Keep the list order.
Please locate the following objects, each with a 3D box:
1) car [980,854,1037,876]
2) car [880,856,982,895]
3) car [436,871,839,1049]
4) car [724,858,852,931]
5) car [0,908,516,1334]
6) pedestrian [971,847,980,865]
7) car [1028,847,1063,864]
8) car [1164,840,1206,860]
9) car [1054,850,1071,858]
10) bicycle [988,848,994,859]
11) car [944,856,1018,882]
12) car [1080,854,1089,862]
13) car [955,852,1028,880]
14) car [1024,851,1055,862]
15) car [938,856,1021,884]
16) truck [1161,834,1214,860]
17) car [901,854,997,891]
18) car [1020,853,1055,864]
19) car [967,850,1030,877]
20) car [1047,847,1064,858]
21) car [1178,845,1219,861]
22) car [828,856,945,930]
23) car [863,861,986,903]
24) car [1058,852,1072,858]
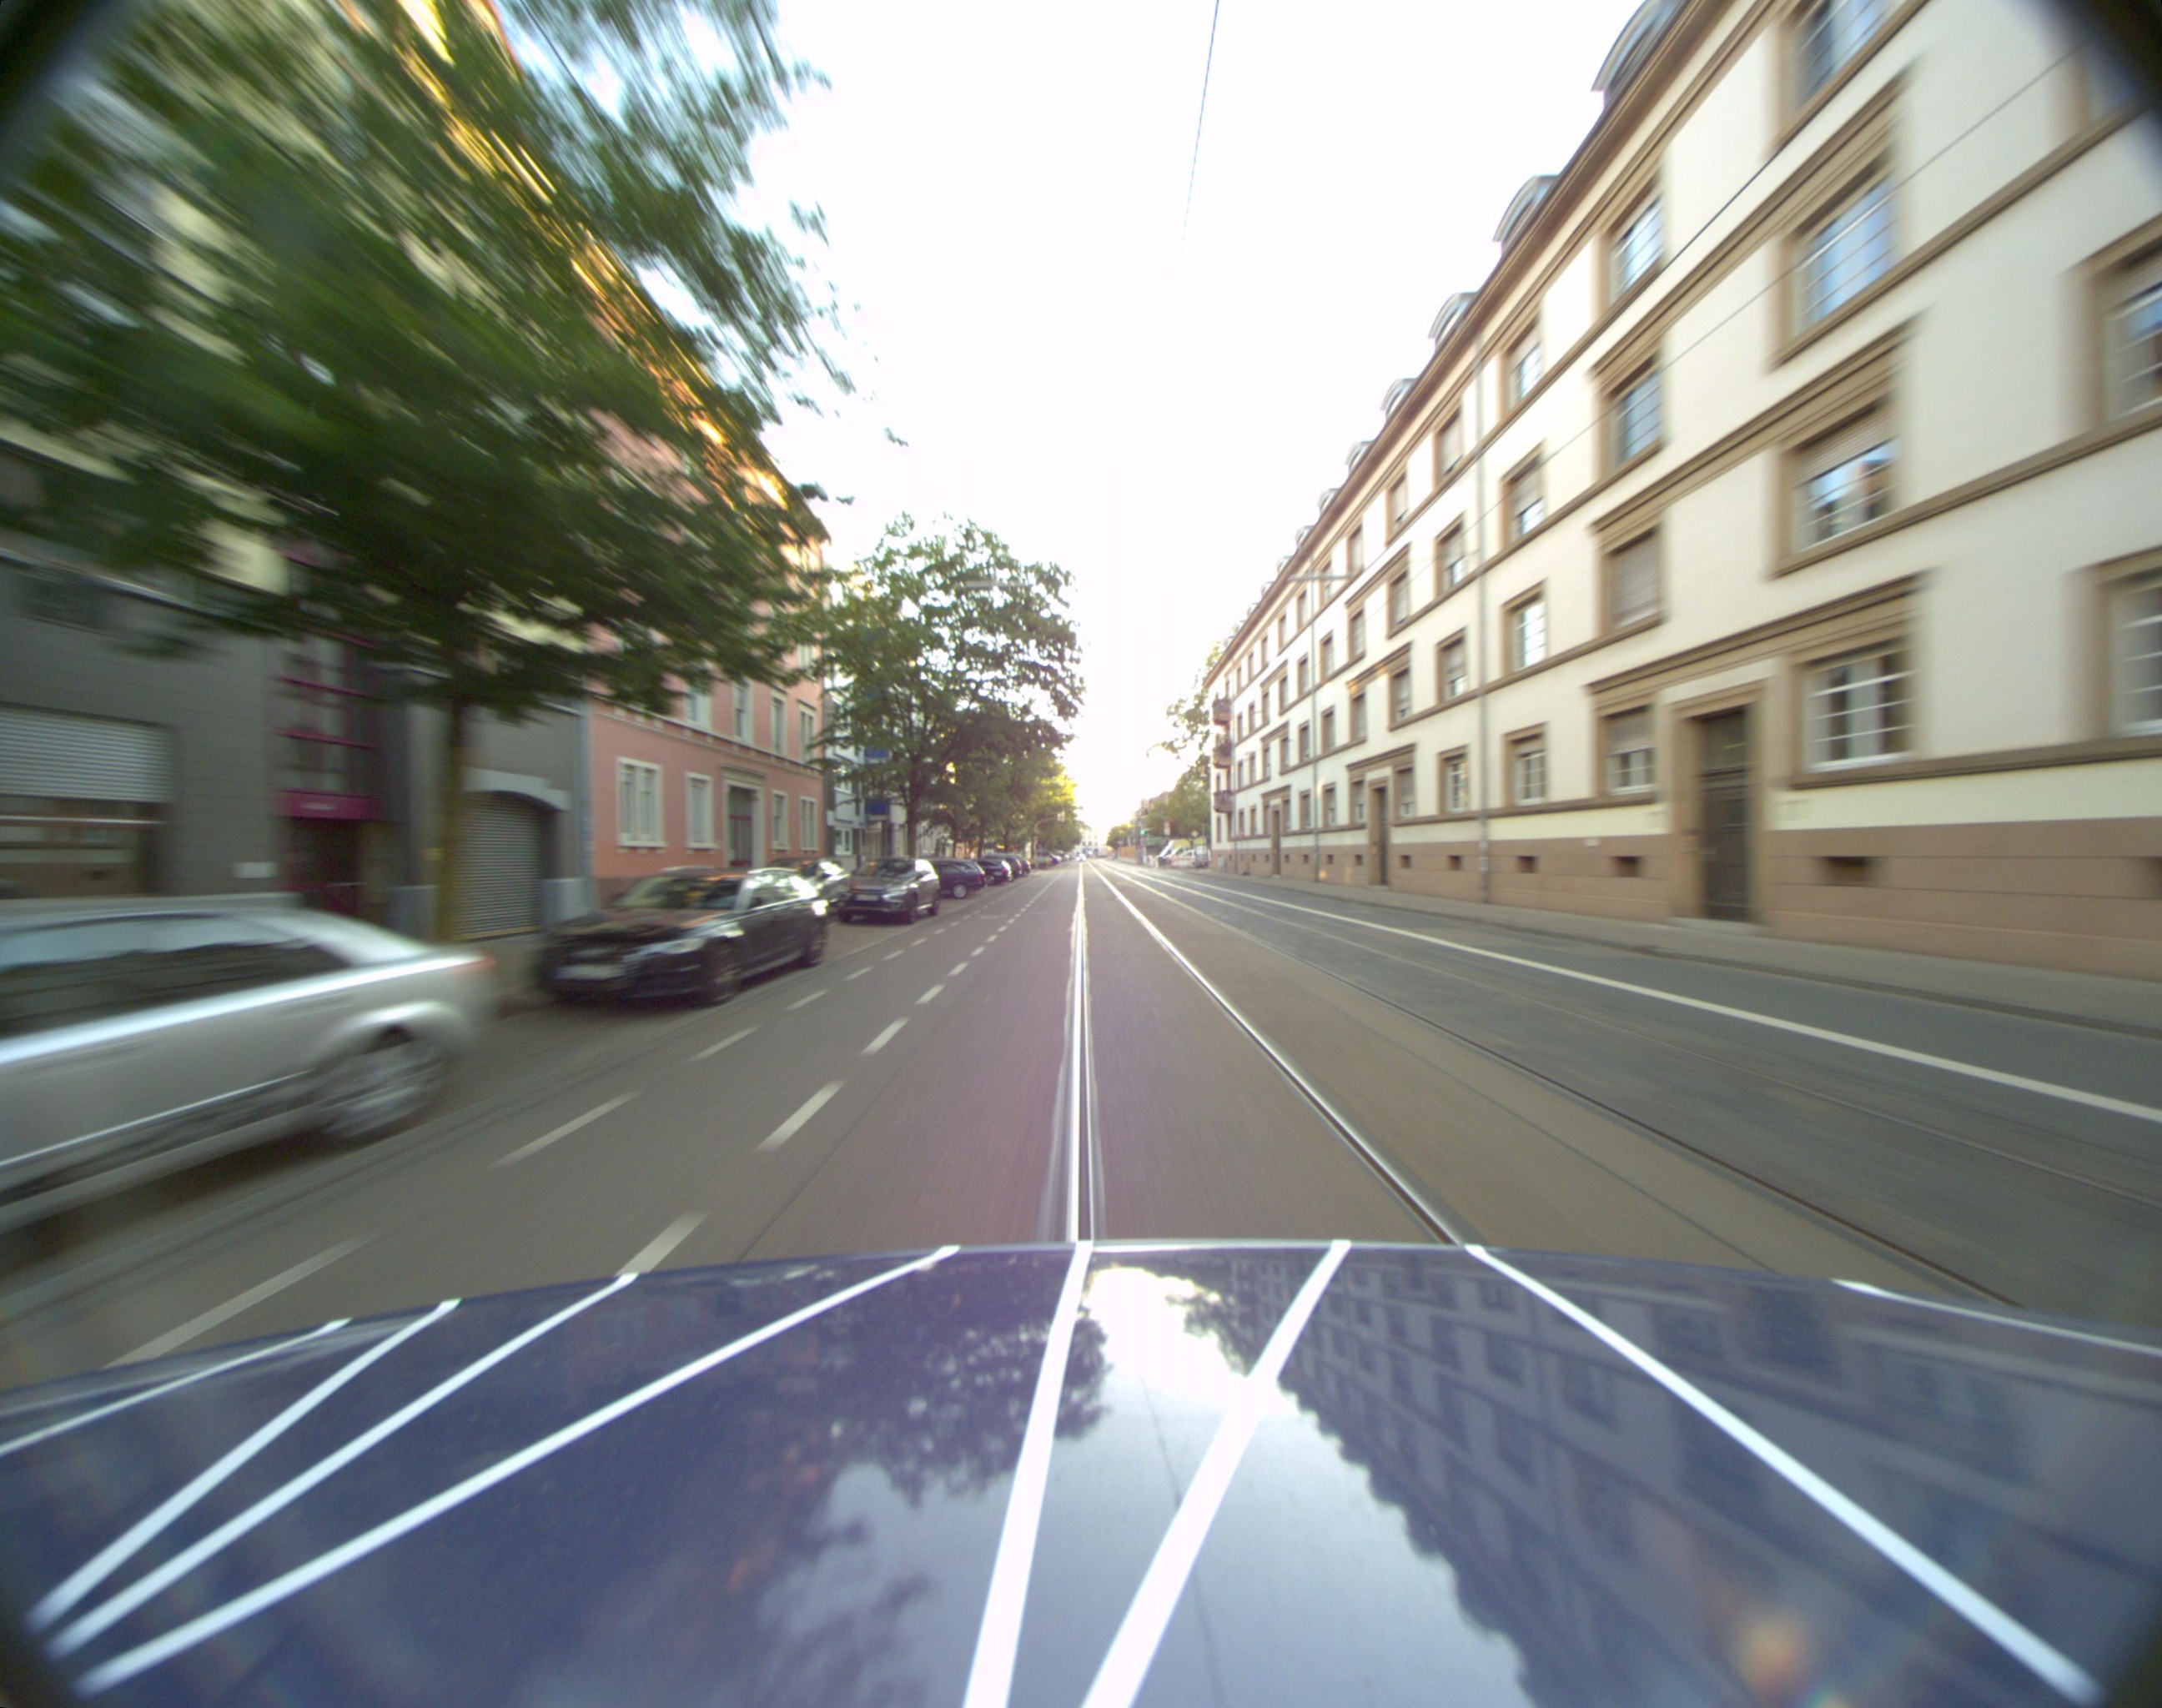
[{"bbox_3d":[-5.584,0.819,58.375,4.003,1.531,1.776,-1,0,-19],"label":"car"},{"bbox_3d":[-6.243,0.862,31.522,3.977,1.544,1.717,0,-1,-17],"label":"car"},{"bbox_3d":[-4.833,1.021,9.428,1.998,1.480,5.035,0,0,1],"label":"car"},{"bbox_3d":[-7.167,0.905,19.055,1.885,1.575,4.018,-1,0,-4],"label":"car"},{"bbox_3d":[-4.907,1.089,2.957,1.784,1.373,4.691,1,0,2],"label":"car"},{"bbox_3d":[-11.040,0.226,79.503,0.558,1.821,0.613,-1,-2,37],"label":"pedestrian"},{"bbox_3d":[-5.715,0.217,120.855,5.236,2.605,1.925,0,0,-16],"label":"car"},{"bbox_3d":[13.948,-0.527,101.844,5.233,2.582,2.229,-2,0,-4],"label":"car"},{"bbox_3d":[-4.461,0.076,185.029,3.997,1.952,1.720,0,-1,-15],"label":"car"},{"bbox_3d":[-9.944,-0.050,83.728,0.471,1.203,1.586,-1,0,0],"label":"bicycle"},{"bbox_3d":[-5.757,0.845,43.621,4.003,1.455,1.717,0,0,-17],"label":"car"},{"bbox_3d":[0.706,0.849,174.748,1.998,1.674,4.000,-2,0,0],"label":"car"},{"bbox_3d":[-5.560,0.745,47.313,4.197,1.686,1.843,0,0,-22],"label":"car"},{"bbox_3d":[-6.039,0.380,110.700,4.122,1.444,1.808,0,-1,-15],"label":"car"},{"bbox_3d":[-5.456,0.862,41.082,4.390,1.455,1.719,0,0,-6],"label":"car"},{"bbox_3d":[15.061,-0.961,107.793,7.077,3.408,2.565,-2,0,-3],"label":"truck"},{"bbox_3d":[-5.922,0.822,34.066,4.004,1.584,1.717,0,-1,-21],"label":"car"},{"bbox_3d":[-6.172,0.661,107.830,4.643,1.508,1.807,1,-1,-26],"label":"car"},{"bbox_3d":[-5.737,0.676,52.679,4.004,1.805,1.821,0,0,-21],"label":"car"},{"bbox_3d":[-6.058,-0.295,181.402,3.992,2.551,1.722,0,-1,1],"label":"car"},{"bbox_3d":[14.840,-0.150,95.994,4.844,1.862,2.015,-2,0,1],"label":"car"},{"bbox_3d":[-4.793,0.902,19.386,1.884,1.608,4.261,1,0,0],"label":"car"},{"bbox_3d":[-5.935,1.020,28.909,4.268,1.380,1.617,-1,0,-25],"label":"car"},{"bbox_3d":[-4.417,0.369,210.083,3.992,1.681,1.722,0,-1,1],"label":"car"}]
